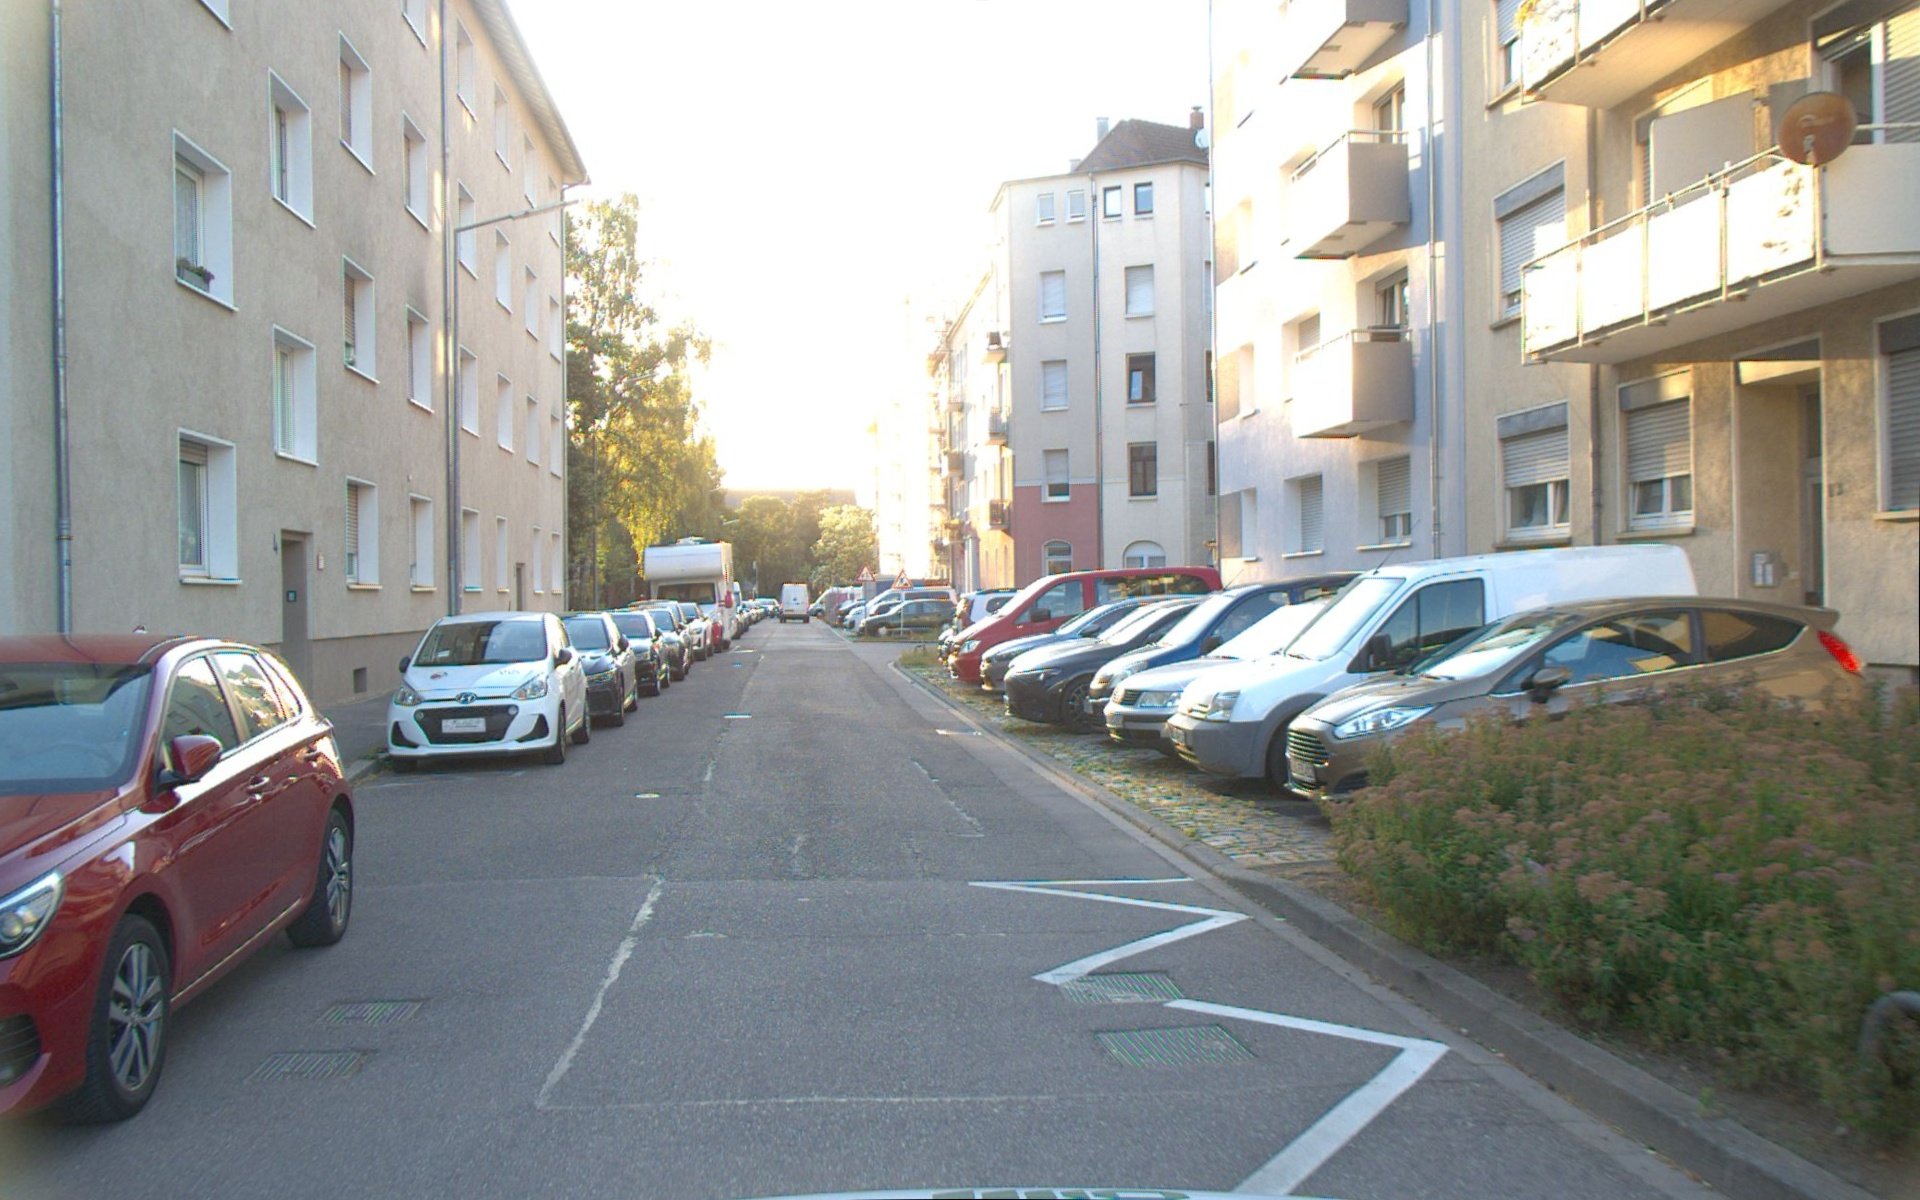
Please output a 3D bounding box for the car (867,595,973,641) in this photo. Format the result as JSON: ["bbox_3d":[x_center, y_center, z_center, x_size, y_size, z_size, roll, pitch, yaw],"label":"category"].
[{"bbox_3d":[-1.566,0.684,63.938,3.911,1.557,1.656,-2,0,-7],"label":"car"}]

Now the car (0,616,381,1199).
[{"bbox_3d":[-3.540,0.847,6.119,1.810,1.499,4.071,-1,0,-8],"label":"car"}]

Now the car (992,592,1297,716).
[{"bbox_3d":[2.465,0.707,22.563,3.803,1.441,1.633,-3,0,-8],"label":"car"}]

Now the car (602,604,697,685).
[{"bbox_3d":[-6.239,0.843,33.512,1.622,1.459,3.869,-3,0,-8],"label":"car"}]

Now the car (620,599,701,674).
[{"bbox_3d":[-6.997,0.809,38.911,1.622,1.592,3.869,-3,0,-8],"label":"car"}]

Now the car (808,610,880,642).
[{"bbox_3d":[-6.469,1.437,92.121,3.911,1.557,1.656,-2,0,-7],"label":"car"}]

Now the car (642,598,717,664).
[{"bbox_3d":[-7.281,0.775,43.268,1.621,1.568,3.871,-3,0,-6],"label":"car"}]

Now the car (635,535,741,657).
[{"bbox_3d":[-8.169,-0.133,50.428,2.569,3.326,7.687,-3,0,-6],"label":"car"}]

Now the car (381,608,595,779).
[{"bbox_3d":[-4.786,0.881,17.202,1.585,1.499,3.499,-3,0,-8],"label":"car"}]

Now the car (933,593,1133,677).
[{"bbox_3d":[1.433,0.690,33.228,3.739,1.453,1.632,-3,0,-7],"label":"car"}]

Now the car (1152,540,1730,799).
[{"bbox_3d":[3.831,0.524,13.558,4.197,1.893,1.739,-1,0,-6],"label":"car"}]

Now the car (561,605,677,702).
[{"bbox_3d":[-5.793,0.861,28.465,1.622,1.459,3.789,-3,0,-8],"label":"car"}]

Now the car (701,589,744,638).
[{"bbox_3d":[-9.635,0.529,67.320,1.622,1.862,3.869,-3,0,-8],"label":"car"}]

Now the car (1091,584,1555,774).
[{"bbox_3d":[3.302,0.683,15.455,3.879,1.548,1.704,-2,0,-6],"label":"car"}]

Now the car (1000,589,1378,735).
[{"bbox_3d":[2.703,0.710,20.013,4.226,1.475,1.653,-3,0,-6],"label":"car"}]

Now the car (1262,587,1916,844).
[{"bbox_3d":[4.166,0.712,11.294,3.798,1.518,1.739,-1,0,-6],"label":"car"}]

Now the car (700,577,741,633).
[{"bbox_3d":[-11.297,0.217,78.192,1.736,2.488,5.136,-2,0,-8],"label":"car"}]

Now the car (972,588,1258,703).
[{"bbox_3d":[2.333,0.676,25.341,4.066,1.496,1.634,-3,0,-7],"label":"car"}]

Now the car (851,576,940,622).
[{"bbox_3d":[-3.013,-0.064,77.127,3.915,2.049,1.995,-1,0,-10],"label":"car"}]

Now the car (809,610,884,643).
[{"bbox_3d":[-6.198,1.432,90.089,3.911,1.557,1.656,-2,0,-7],"label":"car"}]

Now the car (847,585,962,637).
[{"bbox_3d":[-2.392,0.439,70.927,4.722,2.002,1.736,-2,0,-7],"label":"car"}]

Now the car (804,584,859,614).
[{"bbox_3d":[-11.391,-0.083,146.184,4.722,2.450,1.736,-2,0,-7],"label":"car"}]

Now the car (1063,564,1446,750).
[{"bbox_3d":[3.113,0.582,17.903,3.718,1.725,1.653,-3,0,-6],"label":"car"}]

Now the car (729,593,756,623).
[{"bbox_3d":[-14.109,0.495,107.153,1.622,1.862,3.869,-3,0,-8],"label":"car"}]

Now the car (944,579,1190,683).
[{"bbox_3d":[1.943,0.553,30.718,4.242,1.666,1.815,-3,0,-7],"label":"car"}]

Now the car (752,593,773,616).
[{"bbox_3d":[-17.112,0.409,143.293,1.622,1.862,3.869,-3,0,-8],"label":"car"}]

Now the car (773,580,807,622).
[{"bbox_3d":[-11.767,0.093,114.443,2.089,2.764,4.825,-3,0,-8],"label":"car"}]

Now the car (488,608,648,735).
[{"bbox_3d":[-5.172,0.883,22.254,1.628,1.459,4.024,-3,0,-8],"label":"car"}]

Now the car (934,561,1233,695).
[{"bbox_3d":[2.010,0.447,27.808,4.633,1.942,2.056,-3,0,-7],"label":"car"}]

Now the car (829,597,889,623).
[{"bbox_3d":[-6.876,0.681,112.497,3.911,1.557,1.656,-2,0,-7],"label":"car"}]
